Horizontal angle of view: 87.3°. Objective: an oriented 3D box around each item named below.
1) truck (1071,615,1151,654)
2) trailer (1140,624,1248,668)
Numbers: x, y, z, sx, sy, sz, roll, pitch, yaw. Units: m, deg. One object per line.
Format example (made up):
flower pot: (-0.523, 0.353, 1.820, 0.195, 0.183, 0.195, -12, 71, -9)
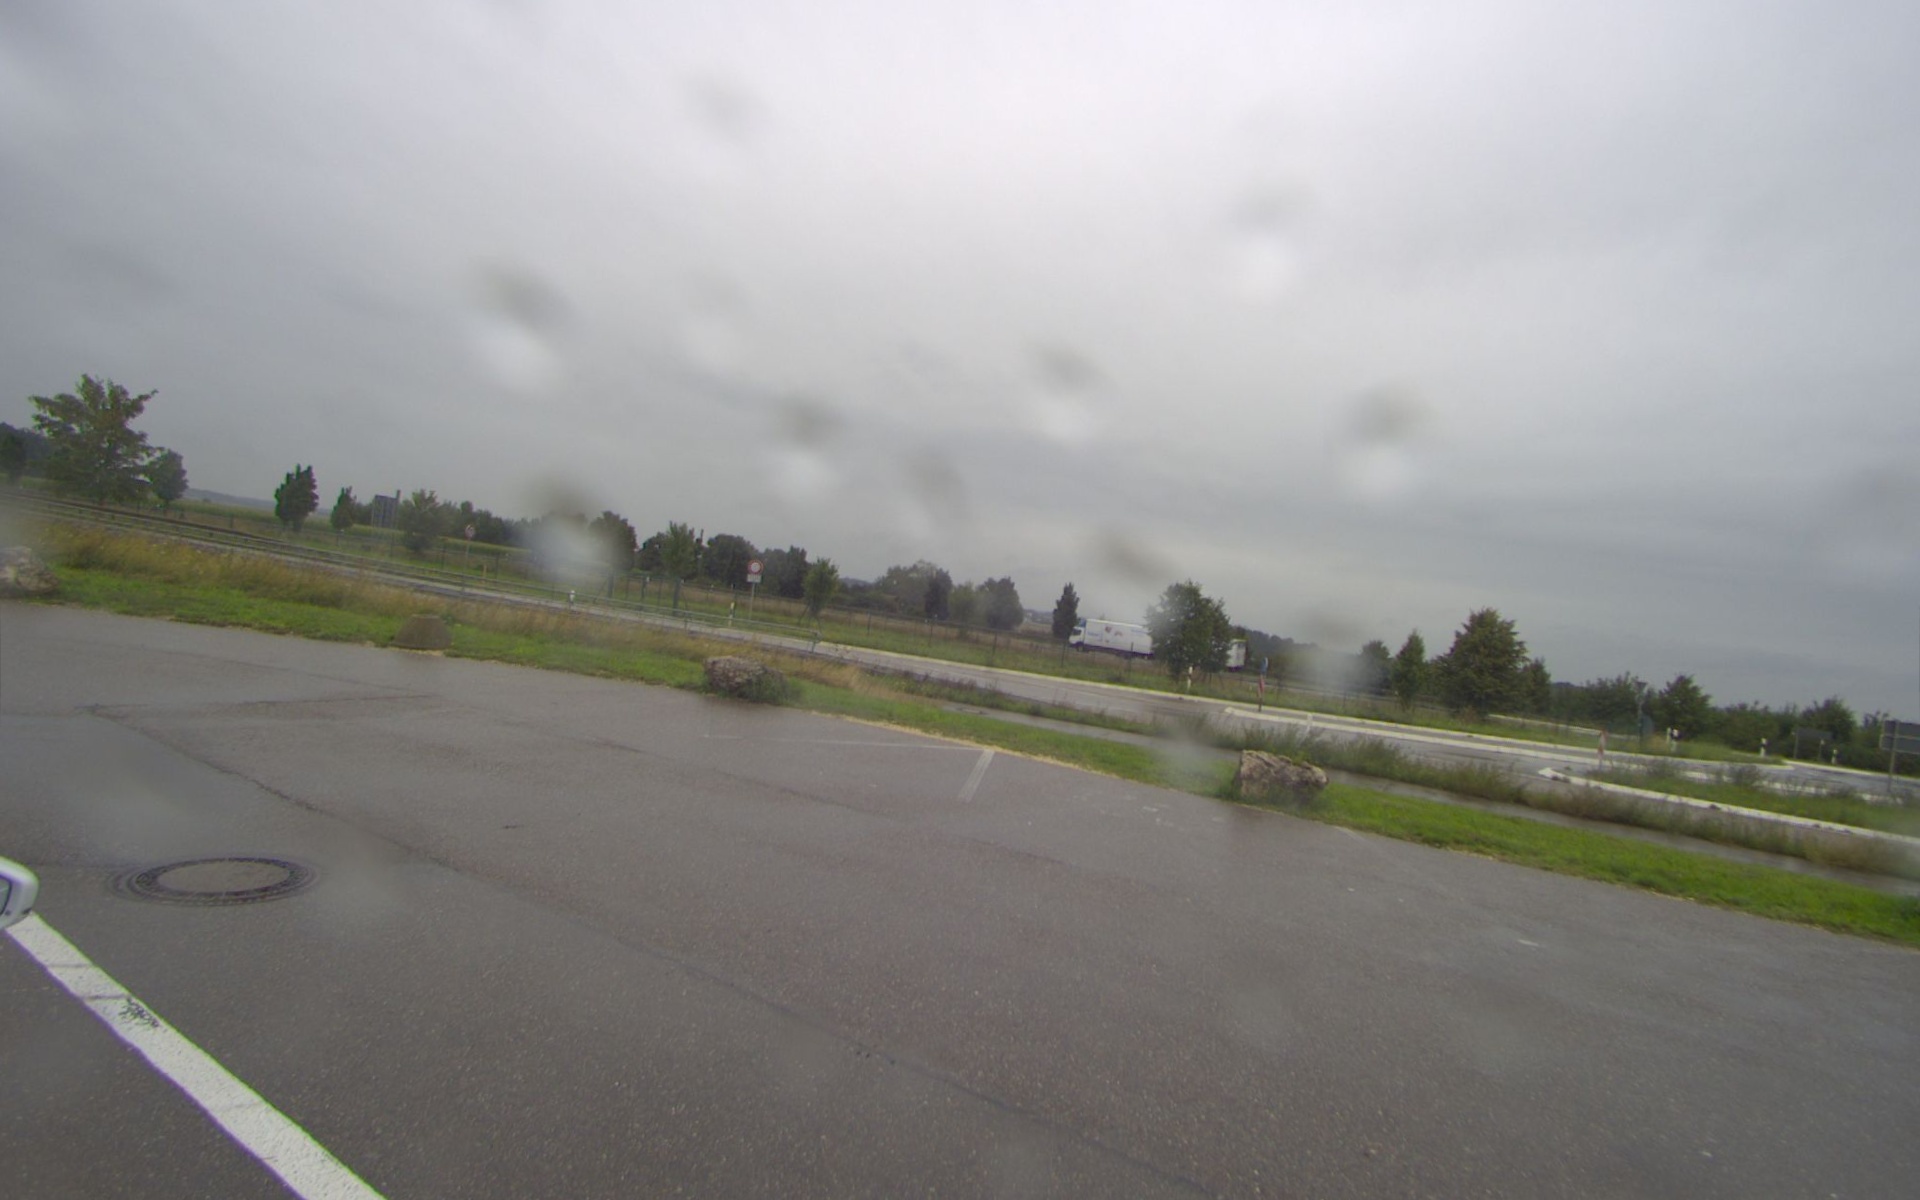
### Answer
truck: (15.674, 3.590, 104.582, 7.662, 2.942, 2.181, 8, -1, 32)
trailer: (23.161, 4.572, 99.994, 9.973, 2.936, 2.204, 7, -1, 32)
